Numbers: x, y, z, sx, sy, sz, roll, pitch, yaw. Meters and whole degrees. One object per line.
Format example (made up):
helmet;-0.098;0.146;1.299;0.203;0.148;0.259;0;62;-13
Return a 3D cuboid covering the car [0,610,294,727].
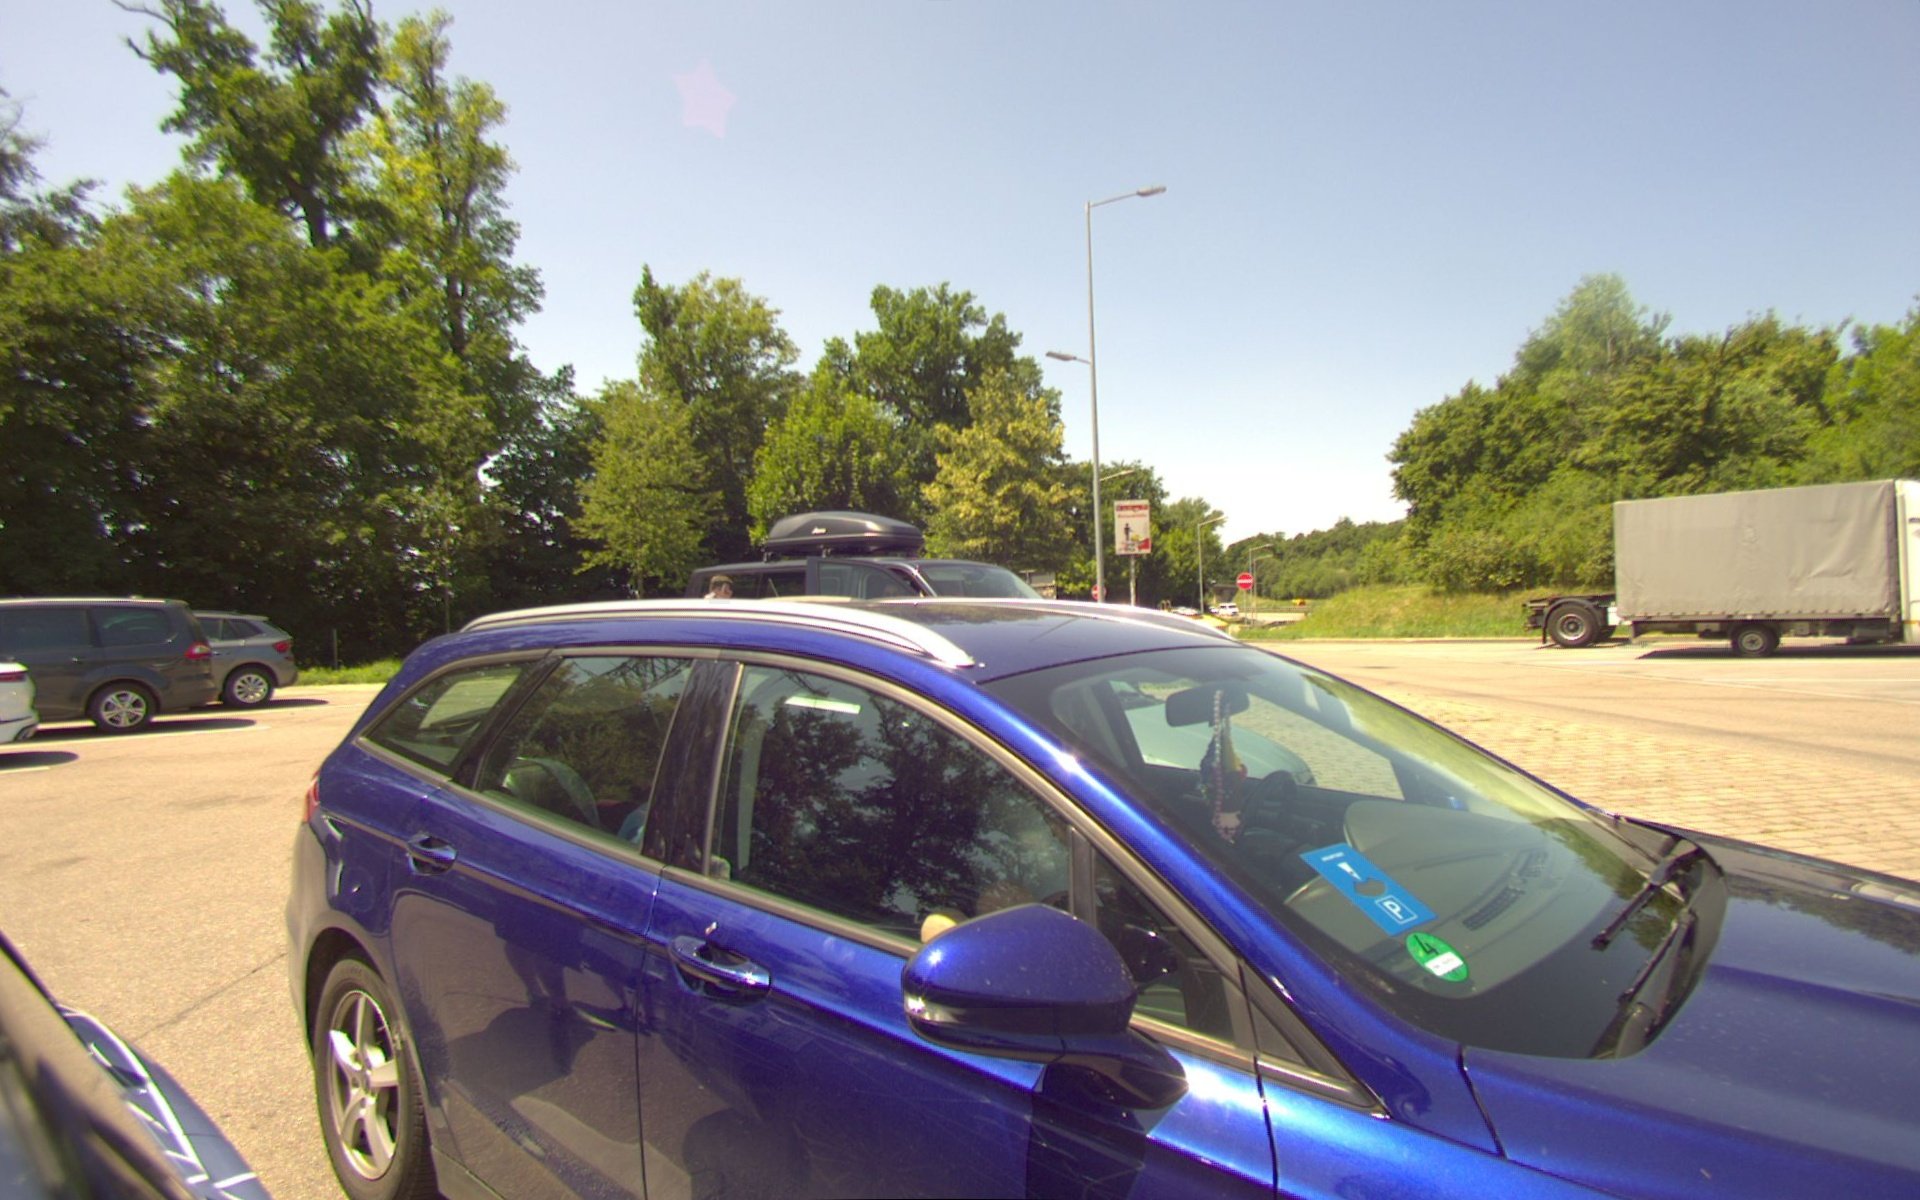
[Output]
car;-12.643;0.970;15.671;3.767;1.572;1.654;-1;0;-38

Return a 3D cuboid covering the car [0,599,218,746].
car;-11.650;0.867;12.664;3.767;1.708;1.654;-1;0;-38

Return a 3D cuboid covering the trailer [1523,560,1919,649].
trailer;17.685;0.154;23.119;8.098;1.638;2.187;-4;-1;41

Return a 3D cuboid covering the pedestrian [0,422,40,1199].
pedestrian;-2.746;0.522;2.251;0.905;1.919;0.816;-1;0;-33

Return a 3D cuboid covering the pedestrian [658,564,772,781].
pedestrian;-2.072;0.596;8.656;0.745;1.767;0.784;-1;0;3

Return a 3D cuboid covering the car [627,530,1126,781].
car;-0.911;0.498;9.667;4.558;1.912;1.740;-3;0;32

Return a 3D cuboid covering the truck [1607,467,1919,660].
truck;16.761;-0.650;19.021;7.274;3.269;2.678;-4;-1;42

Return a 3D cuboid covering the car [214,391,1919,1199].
car;0.215;0.635;2.082;4.569;1.482;1.735;-3;0;40

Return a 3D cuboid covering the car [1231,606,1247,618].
car;49.743;2.132;180.788;1.974;2.029;3.995;-1;0;4

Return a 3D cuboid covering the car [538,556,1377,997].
car;-0.341;0.670;5.619;4.569;1.517;1.735;-3;0;40
